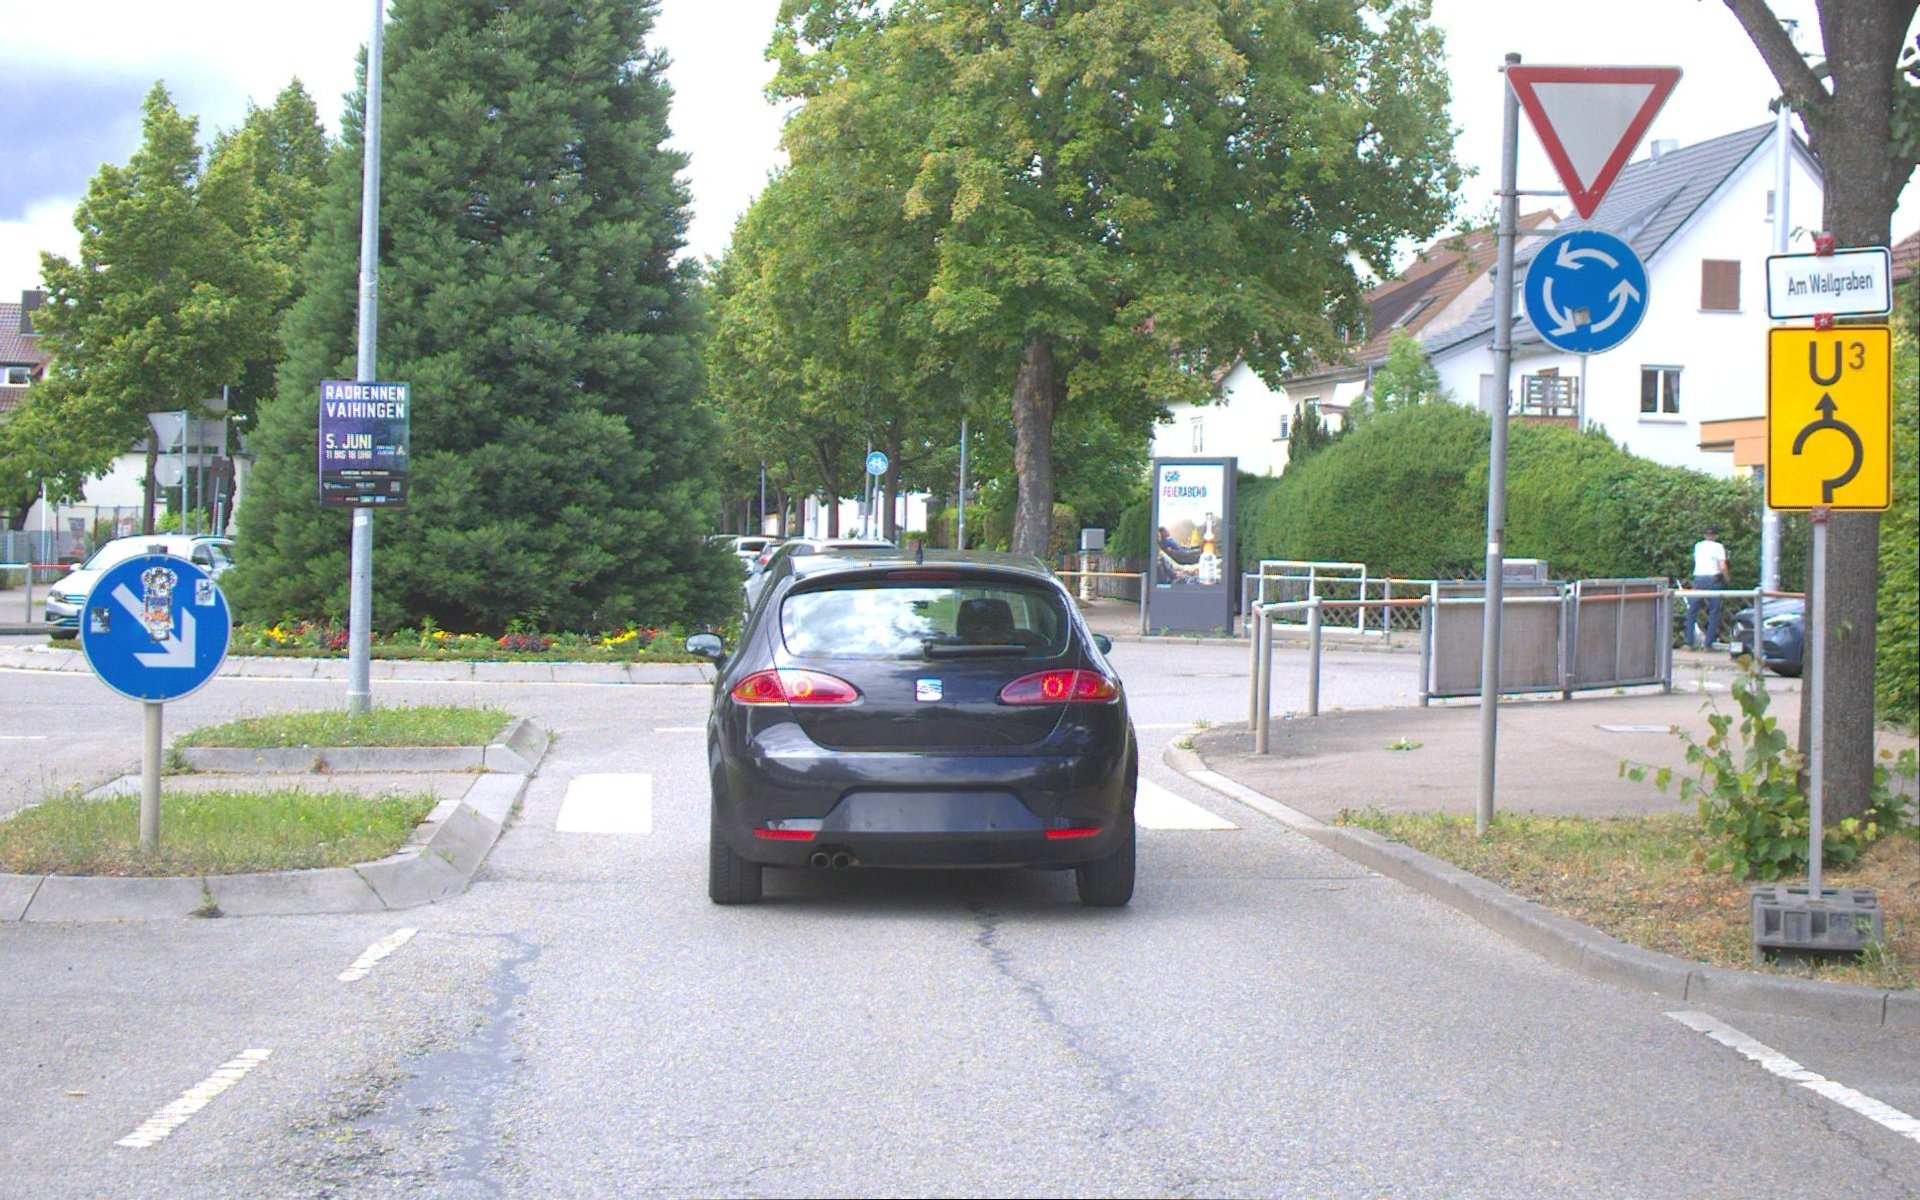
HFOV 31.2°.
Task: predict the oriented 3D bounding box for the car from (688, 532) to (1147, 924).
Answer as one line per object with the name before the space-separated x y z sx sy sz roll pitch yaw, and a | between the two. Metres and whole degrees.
car | -0.275 0.451 15.085 1.732 1.481 4.001 1 1 -3

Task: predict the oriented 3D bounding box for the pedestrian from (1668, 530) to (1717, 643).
pedestrian | 10.034 -0.192 47.093 0.491 1.528 0.483 1 1 37

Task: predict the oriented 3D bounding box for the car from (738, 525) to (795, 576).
car | -5.935 -1.523 105.170 1.594 1.505 3.601 0 1 -5

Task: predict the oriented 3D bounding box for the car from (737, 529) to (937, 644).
car | -1.904 -0.231 51.969 1.993 1.607 4.001 1 1 -17

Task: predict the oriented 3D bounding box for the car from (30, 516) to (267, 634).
car | -11.347 -0.380 48.340 1.869 1.555 4.258 1 1 7

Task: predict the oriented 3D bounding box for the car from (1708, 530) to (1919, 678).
car | 11.290 0.064 40.751 4.397 1.655 1.650 2 1 -3

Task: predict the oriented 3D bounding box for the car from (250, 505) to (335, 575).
car | -19.262 -1.733 99.316 2.029 1.964 4.001 0 1 -6
